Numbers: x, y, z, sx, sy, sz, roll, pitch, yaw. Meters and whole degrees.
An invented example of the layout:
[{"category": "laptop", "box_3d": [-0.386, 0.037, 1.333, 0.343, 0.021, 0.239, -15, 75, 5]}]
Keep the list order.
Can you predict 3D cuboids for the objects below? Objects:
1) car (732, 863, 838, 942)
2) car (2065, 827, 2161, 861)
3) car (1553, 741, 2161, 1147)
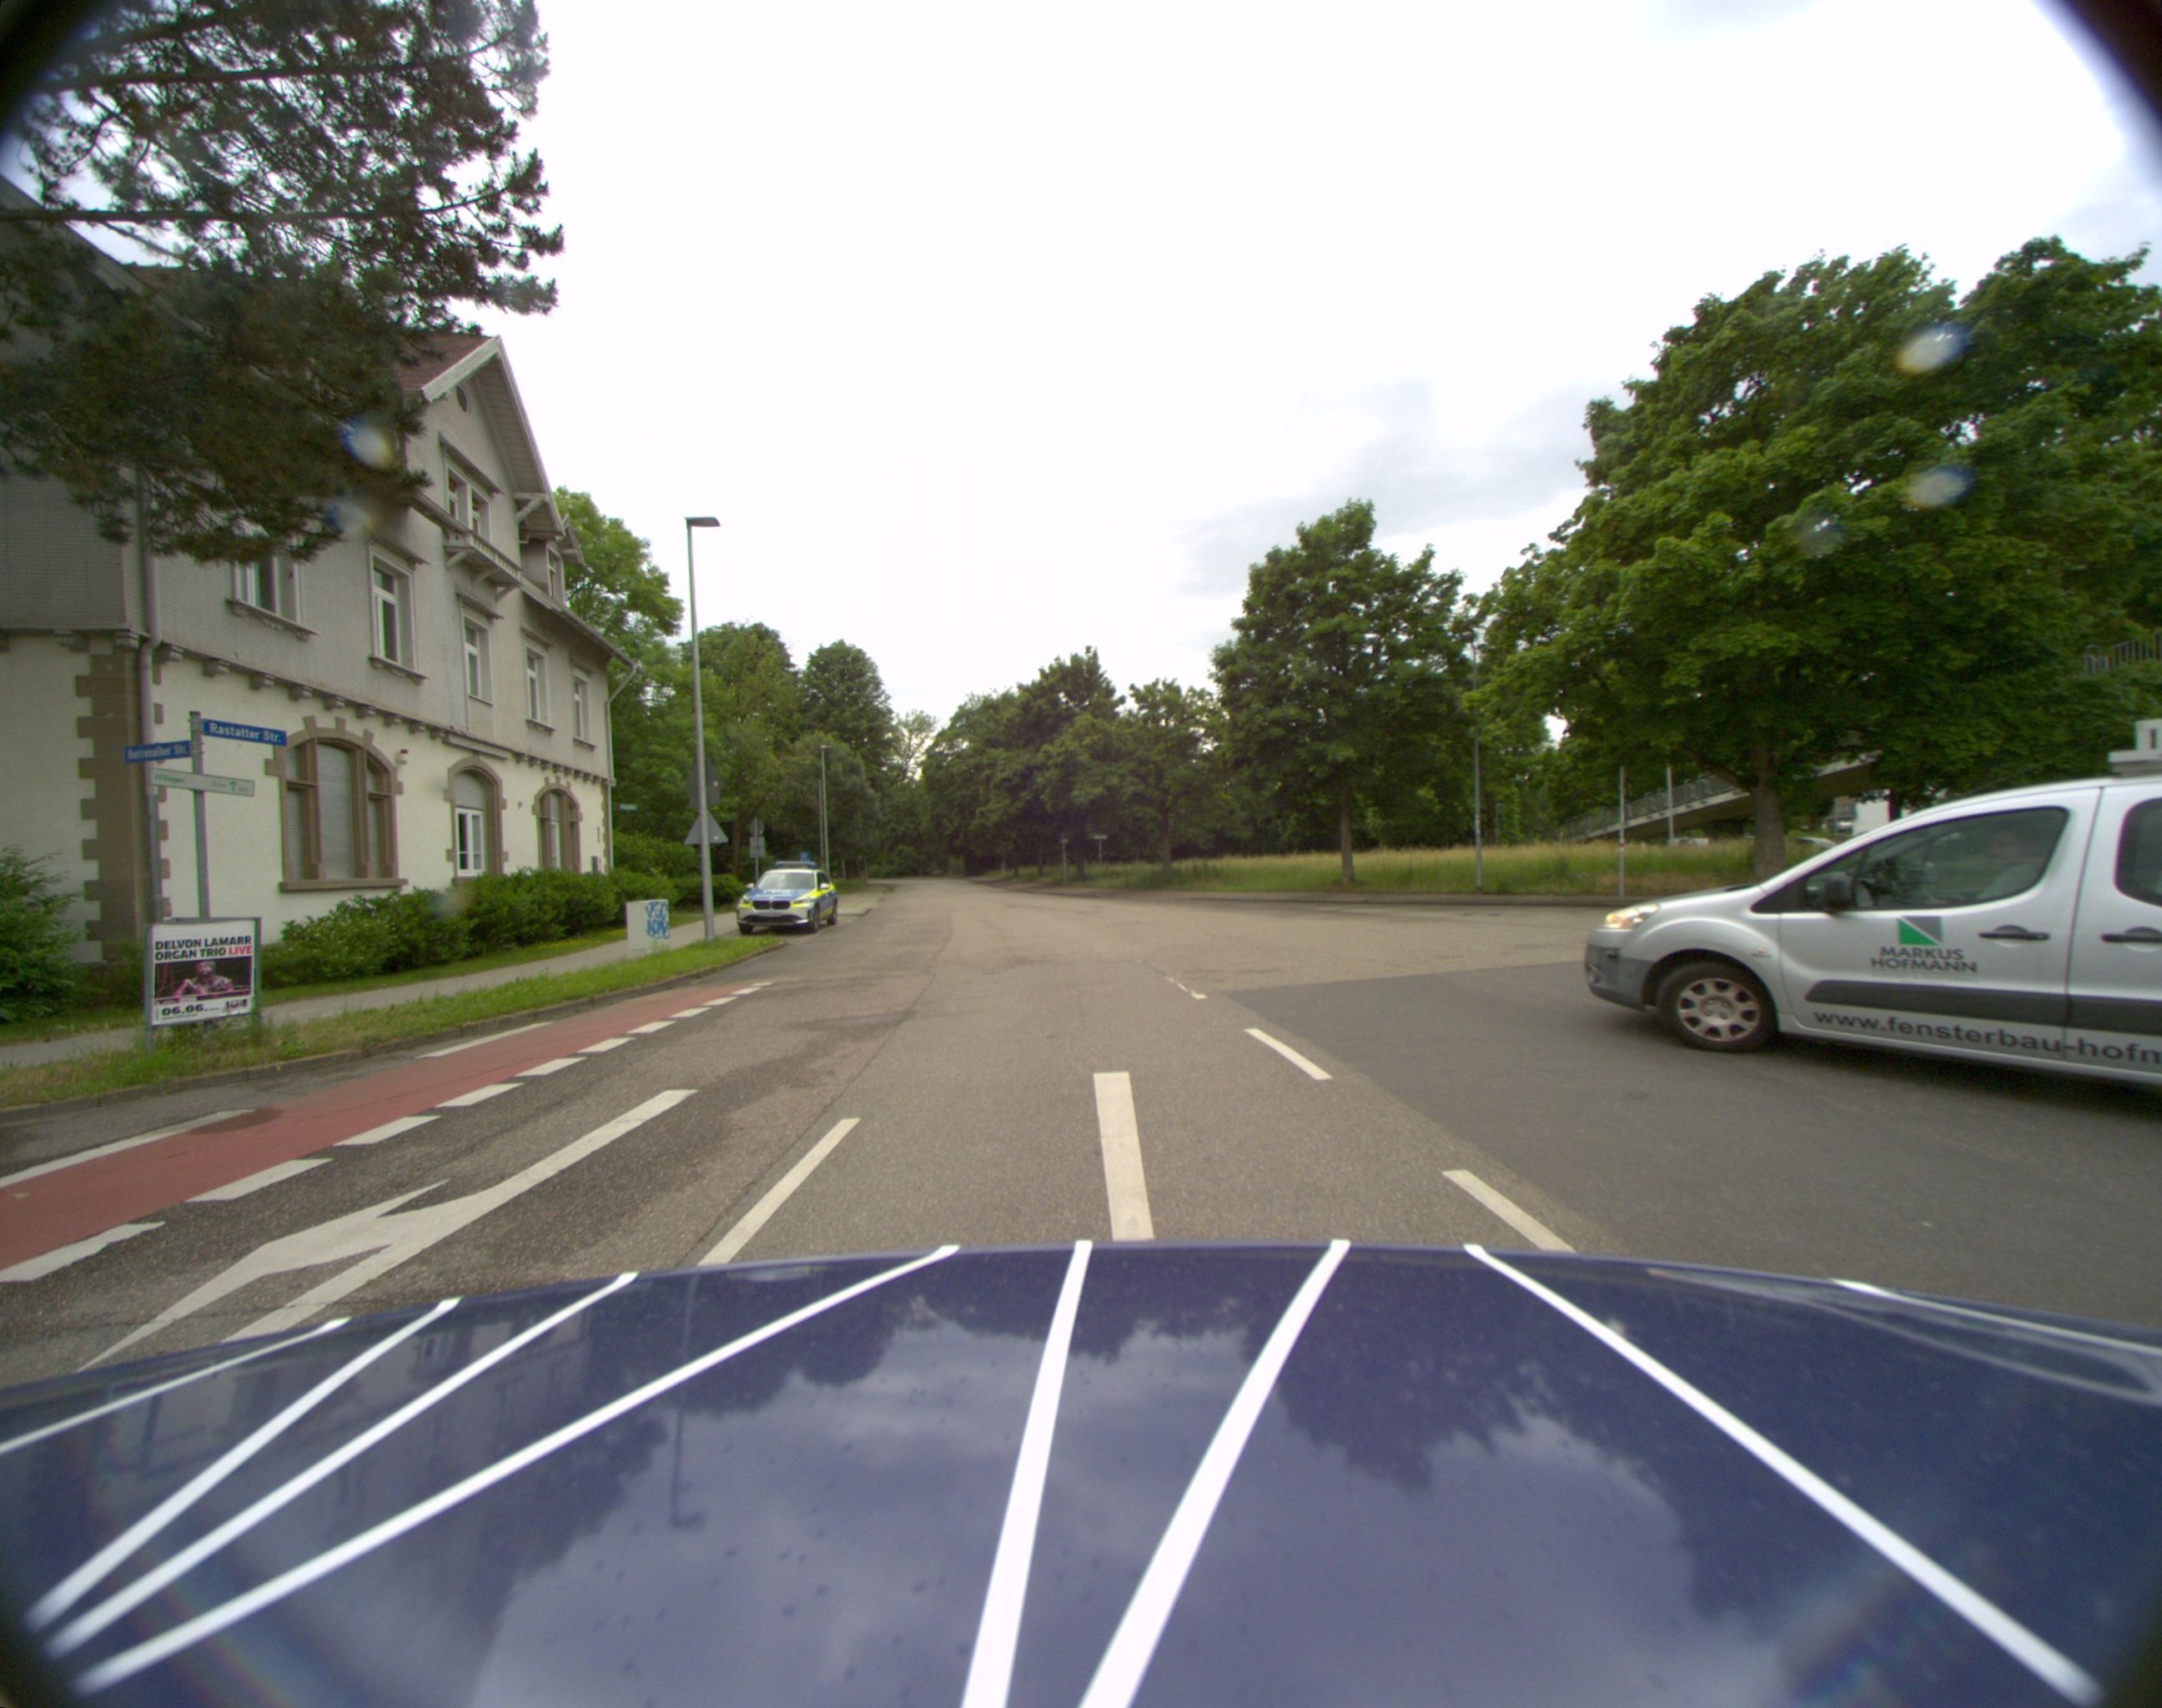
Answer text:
[{"category": "car", "box_3d": [-7.617, 1.156, 19.932, 1.937, 1.839, 3.996, 0, 0, -12]}, {"category": "car", "box_3d": [40.401, -0.389, 28.714, 1.692, 1.231, 4.003, -2, 0, 11]}, {"category": "car", "box_3d": [5.547, 0.385, 4.429, 2.098, 1.846, 4.213, -3, 0, -29]}]
